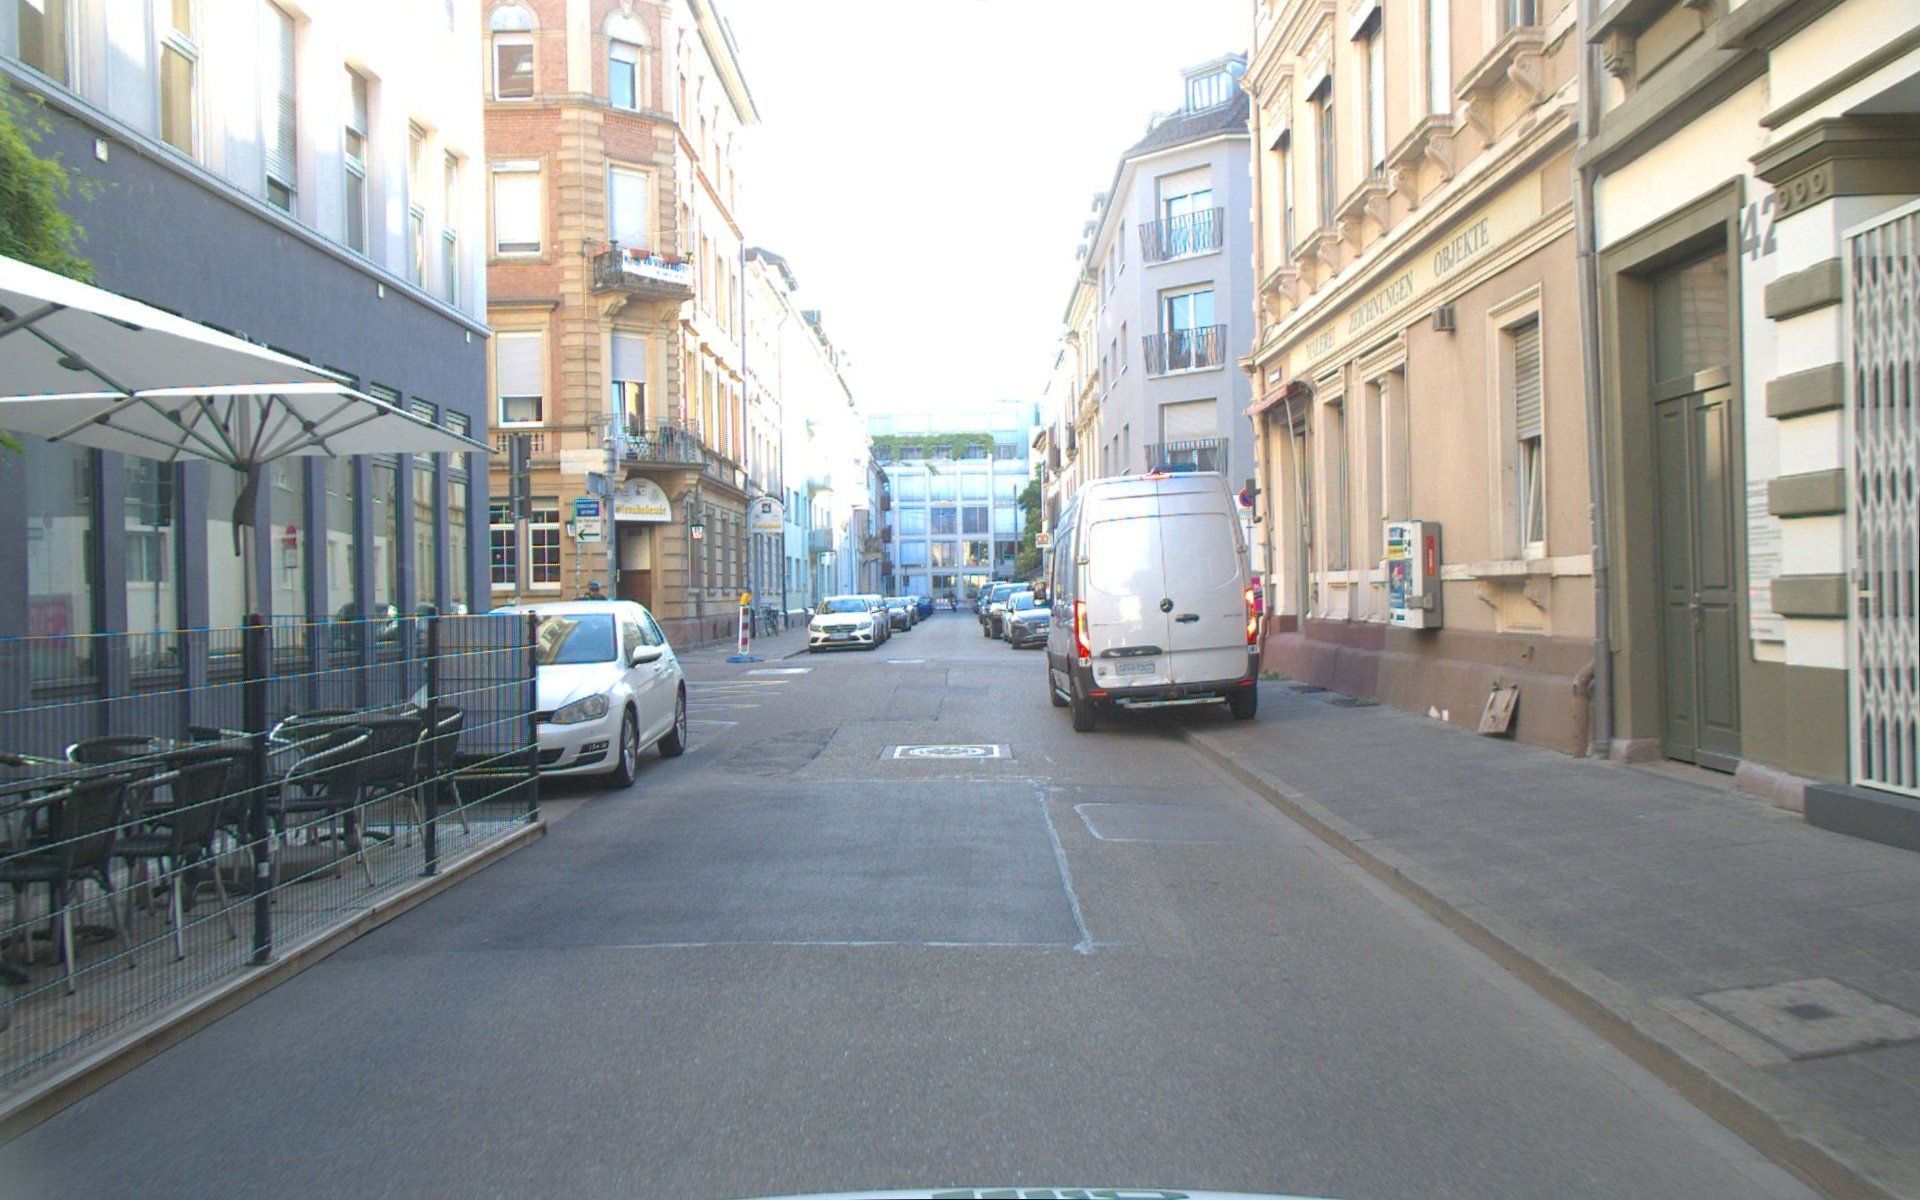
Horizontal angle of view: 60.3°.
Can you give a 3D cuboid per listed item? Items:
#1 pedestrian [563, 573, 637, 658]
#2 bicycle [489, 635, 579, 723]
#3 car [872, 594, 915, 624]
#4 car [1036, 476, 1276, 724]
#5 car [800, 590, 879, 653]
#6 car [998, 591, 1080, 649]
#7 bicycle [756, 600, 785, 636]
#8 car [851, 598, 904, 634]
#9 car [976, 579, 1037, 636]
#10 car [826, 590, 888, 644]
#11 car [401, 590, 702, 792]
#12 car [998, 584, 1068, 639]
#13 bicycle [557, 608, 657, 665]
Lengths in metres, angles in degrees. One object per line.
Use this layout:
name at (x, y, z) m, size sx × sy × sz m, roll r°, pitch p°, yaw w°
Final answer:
pedestrian at (-6.798, 0.283, 31.209) m, size 1.058 × 1.572 × 0.831 m, roll -1°, pitch 0°, yaw 27°
bicycle at (-4.930, 0.901, 19.224) m, size 0.584 × 0.921 × 1.644 m, roll -1°, pitch 0°, yaw 1°
car at (-3.455, 0.448, 86.278) m, size 2.129 × 1.443 × 3.998 m, roll -1°, pitch 0°, yaw -2°
car at (2.145, -0.015, 19.987) m, size 2.230 × 2.482 × 6.204 m, roll -1°, pitch 0°, yaw 1°
car at (-3.272, 0.558, 45.556) m, size 1.953 × 1.591 × 4.504 m, roll -1°, pitch 0°, yaw -2°
car at (2.081, 0.498, 44.533) m, size 1.899 × 1.396 × 3.788 m, roll -3°, pitch 0°, yaw -1°
bicycle at (-6.518, 0.608, 56.971) m, size 0.722 × 1.181 × 2.461 m, roll -1°, pitch 0°, yaw 0°
car at (-3.383, 0.632, 68.278) m, size 1.953 × 1.378 × 4.428 m, roll -1°, pitch 0°, yaw 0°
car at (1.533, 0.240, 56.021) m, size 1.855 × 1.815 × 3.999 m, roll -1°, pitch 0°, yaw -1°
car at (-3.161, 0.498, 51.250) m, size 1.591 × 1.604 × 3.755 m, roll -1°, pitch 0°, yaw 1°
car at (-3.301, 0.670, 14.082) m, size 1.624 × 1.438 × 3.881 m, roll -1°, pitch 0°, yaw -1°
car at (2.199, 0.319, 50.606) m, size 1.923 × 1.584 × 3.888 m, roll -1°, pitch 0°, yaw -1°
bicycle at (-6.642, 0.689, 31.093) m, size 1.936 × 1.025 × 0.539 m, roll -1°, pitch 0°, yaw 27°
